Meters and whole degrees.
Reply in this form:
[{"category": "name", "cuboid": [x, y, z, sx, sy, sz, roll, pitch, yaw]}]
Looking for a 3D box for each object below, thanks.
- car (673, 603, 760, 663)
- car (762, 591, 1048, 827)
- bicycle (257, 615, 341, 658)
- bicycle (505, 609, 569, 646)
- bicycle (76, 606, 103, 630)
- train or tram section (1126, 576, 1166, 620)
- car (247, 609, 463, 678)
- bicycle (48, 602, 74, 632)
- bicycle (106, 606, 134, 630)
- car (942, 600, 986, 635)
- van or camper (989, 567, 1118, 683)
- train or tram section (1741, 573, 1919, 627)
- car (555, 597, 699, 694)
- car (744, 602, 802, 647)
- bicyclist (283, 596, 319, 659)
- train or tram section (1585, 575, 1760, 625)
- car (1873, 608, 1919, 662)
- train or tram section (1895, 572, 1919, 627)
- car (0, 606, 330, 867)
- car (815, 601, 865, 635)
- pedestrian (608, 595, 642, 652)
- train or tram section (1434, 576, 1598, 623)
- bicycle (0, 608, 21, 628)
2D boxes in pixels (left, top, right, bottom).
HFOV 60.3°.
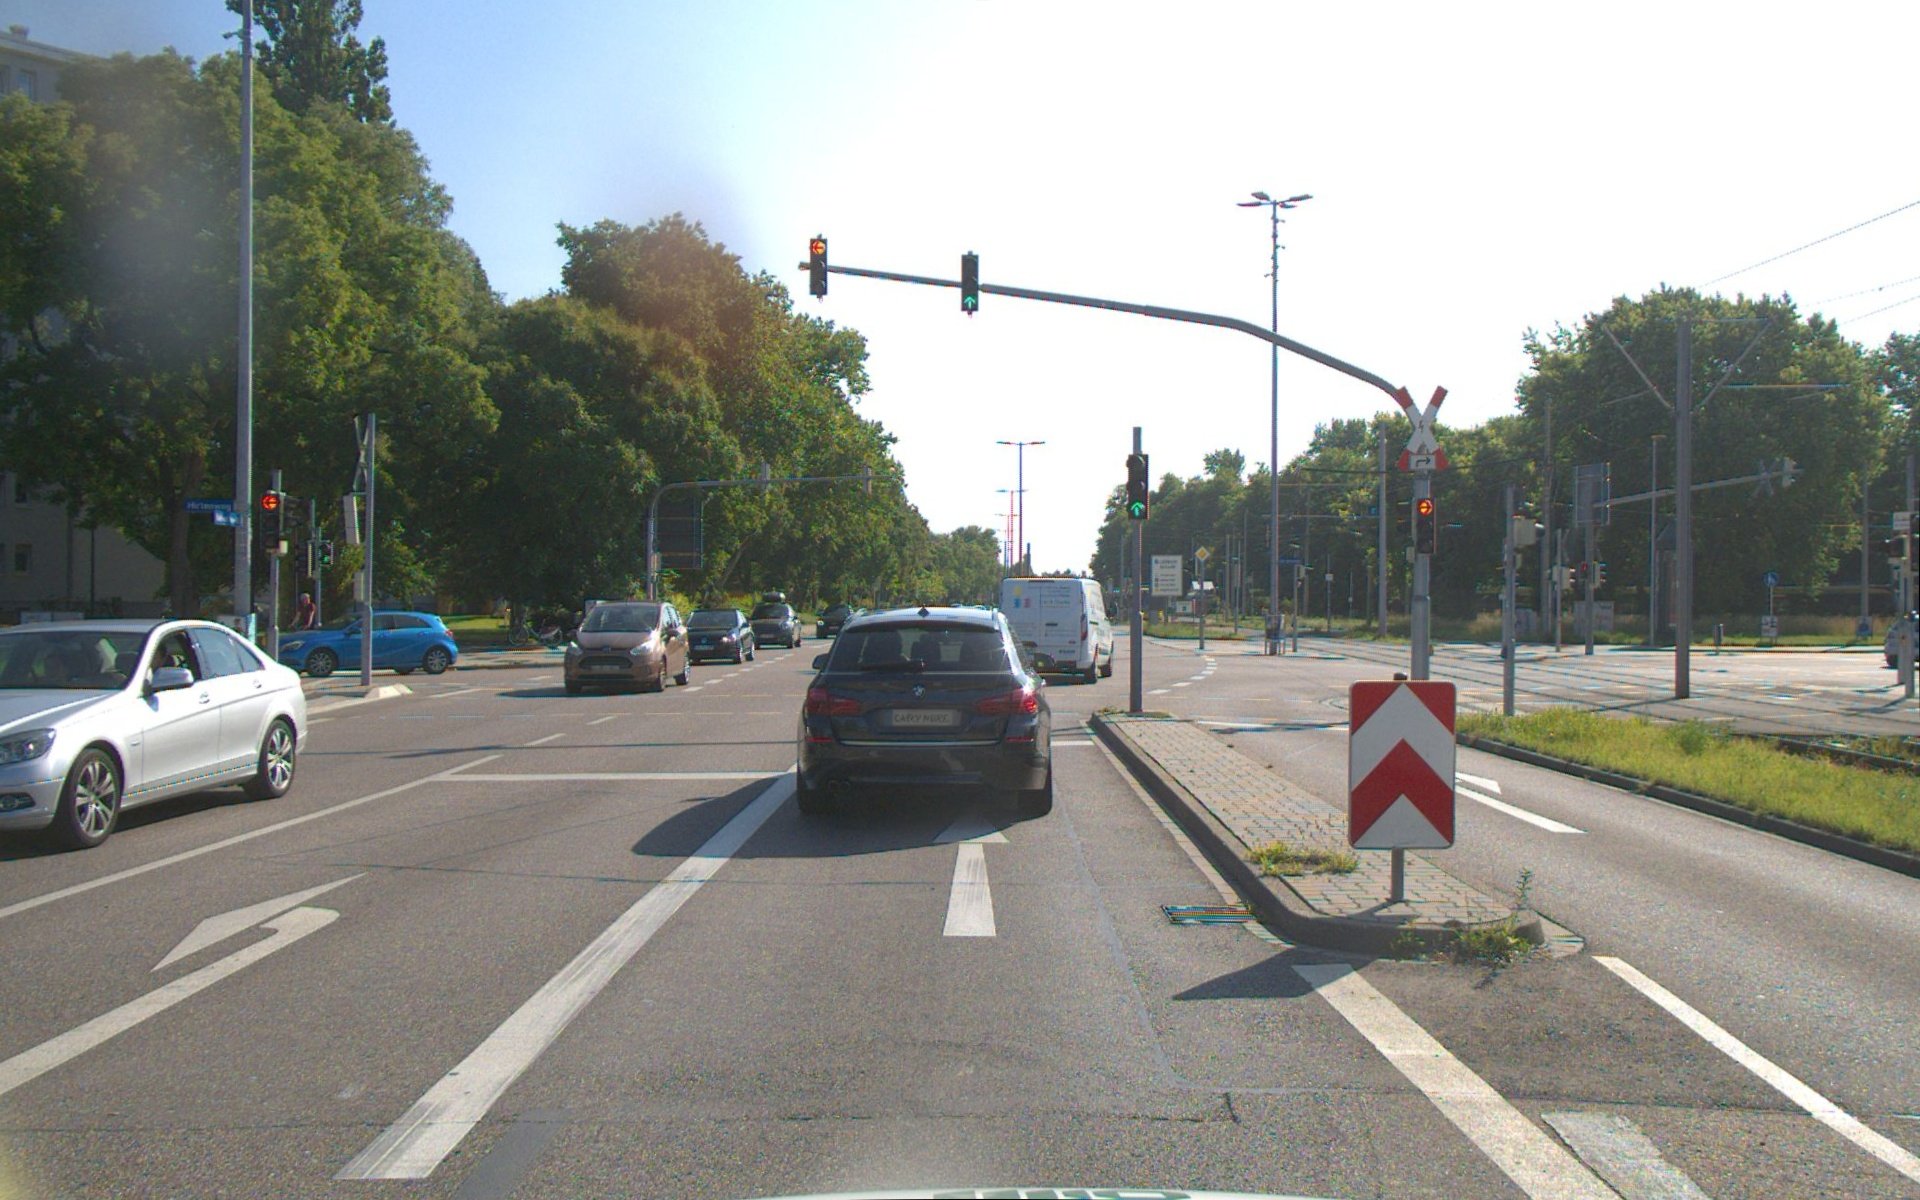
[{"category": "car", "cuboid": [-6.451, 0.844, 44.220, 1.850, 1.500, 4.098, 0, 0, -2]}, {"category": "car", "cuboid": [-0.273, 0.715, 12.850, 1.863, 1.532, 4.066, 0, 0, 2]}, {"category": "bicycle", "cuboid": [-16.818, 0.925, 42.117, 0.608, 1.058, 2.067, 0, 0, 30]}, {"category": "bicycle", "cuboid": [-13.366, 0.863, 52.284, 1.870, 1.138, 0.632, 0, 0, 0]}, {"category": "bicycle", "cuboid": [-33.804, 0.696, 64.204, 0.668, 0.891, 2.455, 0, 0, -34]}, {"category": "train or tram section", "cuboid": [16.364, -0.114, 146.101, 2.737, 3.682, 12.960, 1, -1, 4]}, {"category": "car", "cuboid": [-13.445, 0.922, 36.937, 1.755, 1.439, 4.214, 0, 0, 44]}, {"category": "bicycle", "cuboid": [-34.505, 0.664, 63.468, 0.606, 1.085, 1.892, 1, -2, -36]}, {"category": "bicycle", "cuboid": [-32.931, 0.701, 64.821, 0.662, 0.936, 2.378, 0, 0, -34]}, {"category": "car", "cuboid": [0.219, 0.741, 72.435, 1.791, 1.456, 4.732, -1, 0, 1]}, {"category": "van or camper", "cuboid": [1.945, 0.459, 33.017, 1.951, 2.133, 4.602, 0, 0, 11]}, {"category": "train or tram section", "cuboid": [61.869, 0.018, 117.136, 3.016, 3.642, 12.089, 0, 0, -33]}, {"category": "car", "cuboid": [-5.891, 0.767, 29.708, 1.709, 1.589, 4.000, -1, 0, 0]}, {"category": "car", "cuboid": [-6.724, 0.868, 59.733, 1.753, 1.547, 3.998, 0, 0, -2]}, {"category": "bicyclist", "cuboid": [-16.797, 0.684, 42.150, 0.596, 1.588, 0.601, 0, -1, 31]}, {"category": "train or tram section", "cuboid": [54.297, -0.014, 126.288, 11.986, 3.642, 3.042, 0, 0, 36]}, {"category": "car", "cuboid": [30.035, 1.040, 50.518, 4.143, 1.590, 1.839, 0, 0, -28]}, {"category": "train or tram section", "cuboid": [64.598, -0.037, 105.712, 2.981, 3.642, 12.231, 0, 0, 1]}, {"category": "car", "cuboid": [-6.214, 0.817, 11.786, 1.667, 1.491, 4.370, -1, 0, 1]}, {"category": "car", "cuboid": [-6.023, 0.893, 83.374, 1.947, 1.688, 4.387, 0, 0, 4]}, {"category": "pedestrian", "cuboid": [-10.579, 0.740, 52.268, 0.798, 1.782, 0.932, 1, 0, 5]}, {"category": "train or tram section", "cuboid": [44.587, -0.076, 132.878, 12.172, 3.642, 3.047, 0, 0, 31]}, {"category": "bicycle", "cuboid": [-36.049, 0.680, 62.749, 0.578, 0.721, 2.211, 1, 0, -34]}]
